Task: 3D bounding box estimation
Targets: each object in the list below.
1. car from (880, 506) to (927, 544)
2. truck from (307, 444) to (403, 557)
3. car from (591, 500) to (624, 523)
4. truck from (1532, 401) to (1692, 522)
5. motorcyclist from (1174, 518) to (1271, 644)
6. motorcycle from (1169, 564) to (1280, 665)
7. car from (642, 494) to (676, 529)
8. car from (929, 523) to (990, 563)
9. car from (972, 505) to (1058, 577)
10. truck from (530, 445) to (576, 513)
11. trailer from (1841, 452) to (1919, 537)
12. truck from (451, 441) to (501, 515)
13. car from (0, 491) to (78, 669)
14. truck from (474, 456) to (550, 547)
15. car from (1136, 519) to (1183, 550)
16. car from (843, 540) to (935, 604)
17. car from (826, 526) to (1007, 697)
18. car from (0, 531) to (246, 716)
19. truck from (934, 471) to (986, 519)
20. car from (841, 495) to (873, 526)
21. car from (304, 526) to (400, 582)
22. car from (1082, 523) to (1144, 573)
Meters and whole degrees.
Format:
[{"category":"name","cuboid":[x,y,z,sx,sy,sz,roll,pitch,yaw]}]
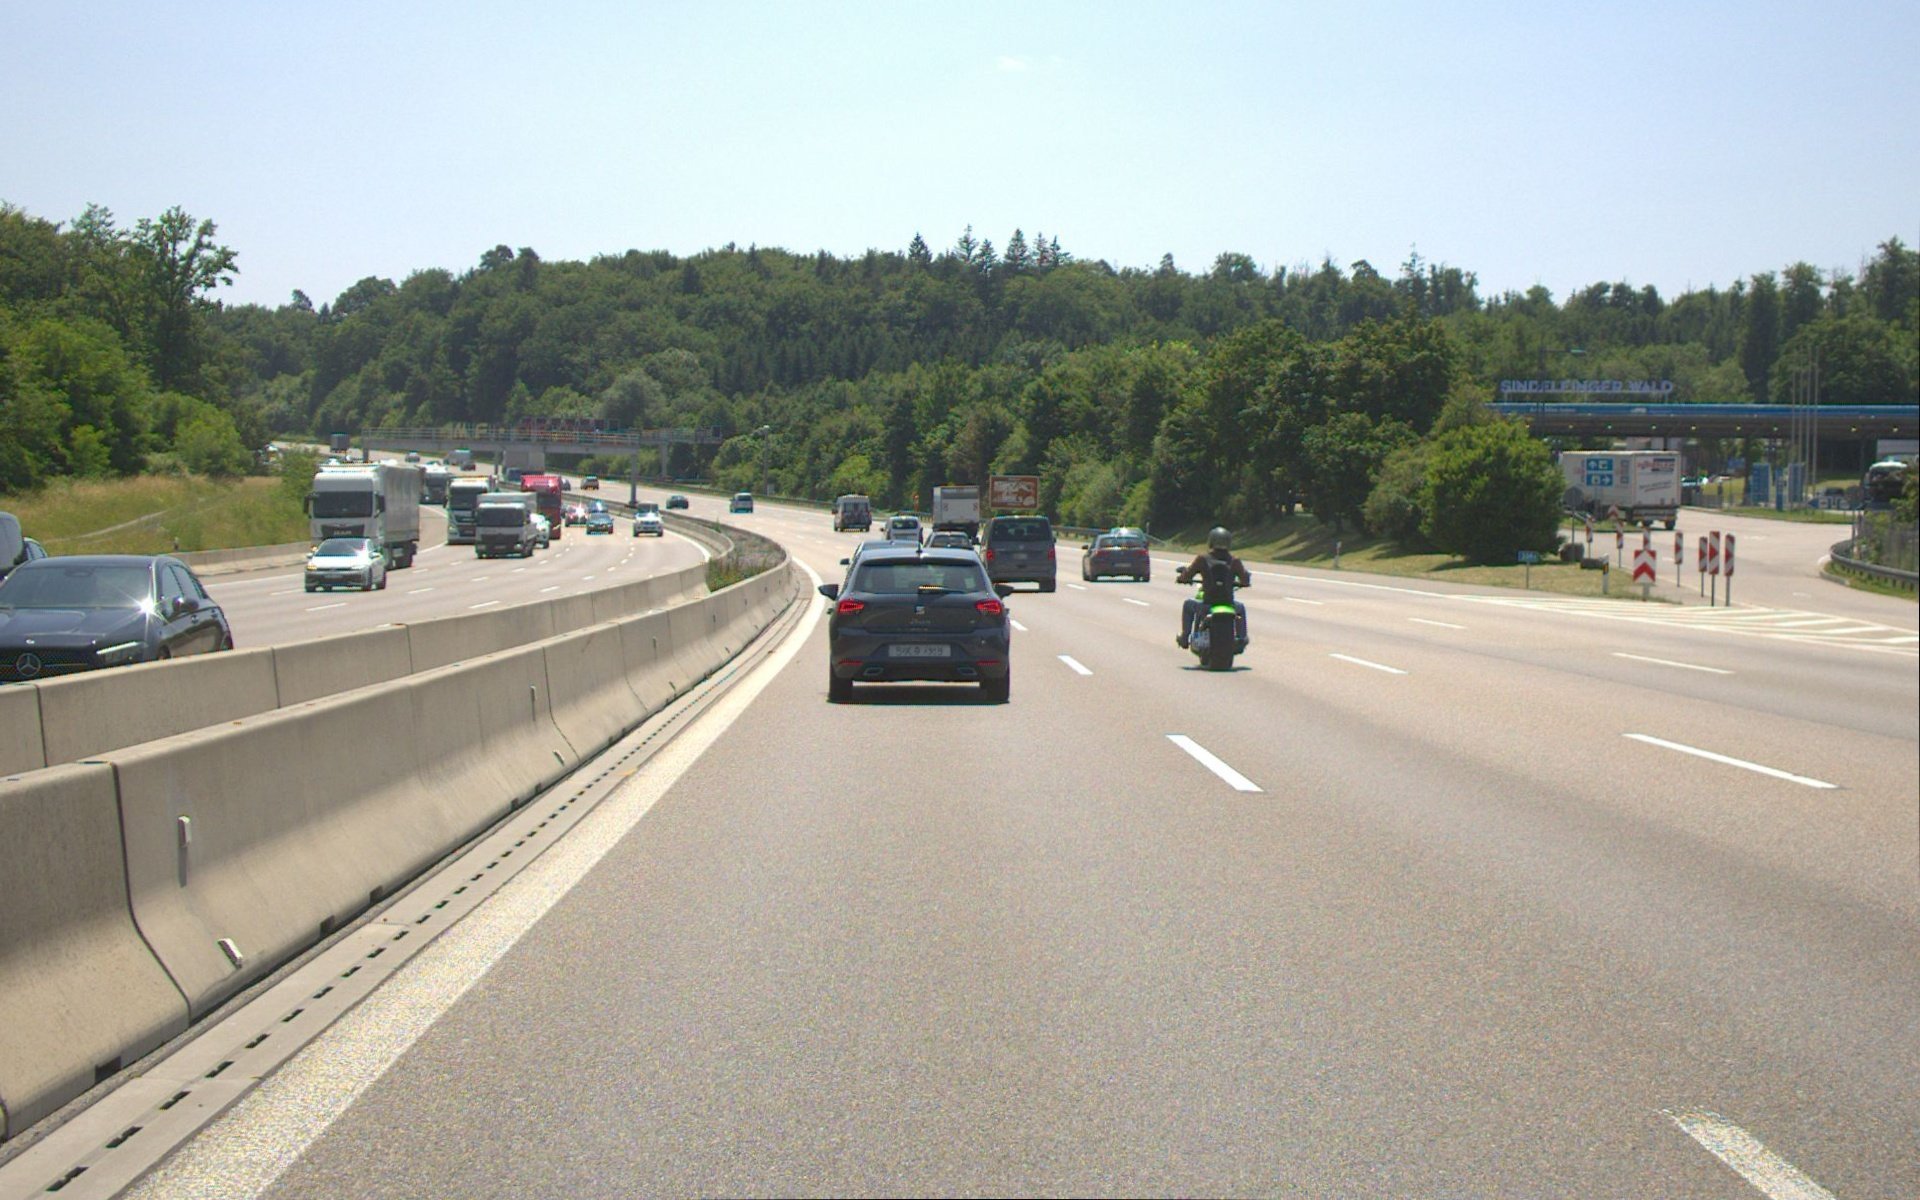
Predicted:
[{"category":"car","cuboid":[-2.761,-3.637,166.850,1.993,1.678,4.425,3,2,-3]},{"category":"truck","cuboid":[-22.738,-3.724,129.498,2.682,4.163,6.232,0,1,-2]},{"category":"car","cuboid":[-24.615,-6.187,240.248,1.993,1.542,4.882,0,2,-3]},{"category":"truck","cuboid":[35.178,-7.384,186.436,5.508,6.244,15.432,0,1,-1]},{"category":"motorcyclist","cuboid":[3.042,-0.234,40.006,0.962,1.432,1.235,0,2,-3]},{"category":"motorcycle","cuboid":[3.062,0.151,40.051,0.977,1.125,2.271,0,1,-3]},{"category":"car","cuboid":[-19.937,-5.873,227.928,1.993,2.281,5.766,0,2,-3]},{"category":"car","cuboid":[-0.044,-2.019,120.118,1.842,1.218,4.225,3,2,-3]},{"category":"car","cuboid":[1.421,-1.545,89.987,2.097,1.845,4.081,0,1,-1]},{"category":"truck","cuboid":[-26.142,-7.787,220.920,2.500,4.336,6.607,0,2,-3]},{"category":"trailer","cuboid":[44.191,-4.931,157.925,3.164,3.624,13.597,1,3,32]},{"category":"truck","cuboid":[-28.858,-7.299,205.259,2.500,4.336,6.607,0,3,-4]},{"category":"car","cuboid":[-11.361,-0.226,37.894,1.872,1.933,5.775,0,1,-1]},{"category":"truck","cuboid":[-21.220,-4.669,163.289,2.531,4.163,9.620,0,1,-1]},{"category":"car","cuboid":[7.871,-2.599,135.724,1.608,1.208,3.460,0,1,-1]},{"category":"car","cuboid":[-1.474,-0.589,70.282,1.782,1.261,3.460,0,1,-3]},{"category":"car","cuboid":[-0.371,0.068,33.056,1.624,1.482,3.685,0,2,1]},{"category":"car","cuboid":[-7.368,0.147,29.522,1.601,1.463,4.506,0,1,-1]},{"category":"truck","cuboid":[0.003,-6.451,210.053,2.726,2.776,5.684,3,2,-3]},{"category":"car","cuboid":[-7.173,-6.266,239.936,1.993,2.006,4.675,3,2,-3]},{"category":"car","cuboid":[-16.939,-1.289,95.957,1.872,1.475,4.814,1,1,-1]},{"category":"car","cuboid":[4.554,-1.561,102.864,1.675,1.427,3.685,2,1,0]}]
